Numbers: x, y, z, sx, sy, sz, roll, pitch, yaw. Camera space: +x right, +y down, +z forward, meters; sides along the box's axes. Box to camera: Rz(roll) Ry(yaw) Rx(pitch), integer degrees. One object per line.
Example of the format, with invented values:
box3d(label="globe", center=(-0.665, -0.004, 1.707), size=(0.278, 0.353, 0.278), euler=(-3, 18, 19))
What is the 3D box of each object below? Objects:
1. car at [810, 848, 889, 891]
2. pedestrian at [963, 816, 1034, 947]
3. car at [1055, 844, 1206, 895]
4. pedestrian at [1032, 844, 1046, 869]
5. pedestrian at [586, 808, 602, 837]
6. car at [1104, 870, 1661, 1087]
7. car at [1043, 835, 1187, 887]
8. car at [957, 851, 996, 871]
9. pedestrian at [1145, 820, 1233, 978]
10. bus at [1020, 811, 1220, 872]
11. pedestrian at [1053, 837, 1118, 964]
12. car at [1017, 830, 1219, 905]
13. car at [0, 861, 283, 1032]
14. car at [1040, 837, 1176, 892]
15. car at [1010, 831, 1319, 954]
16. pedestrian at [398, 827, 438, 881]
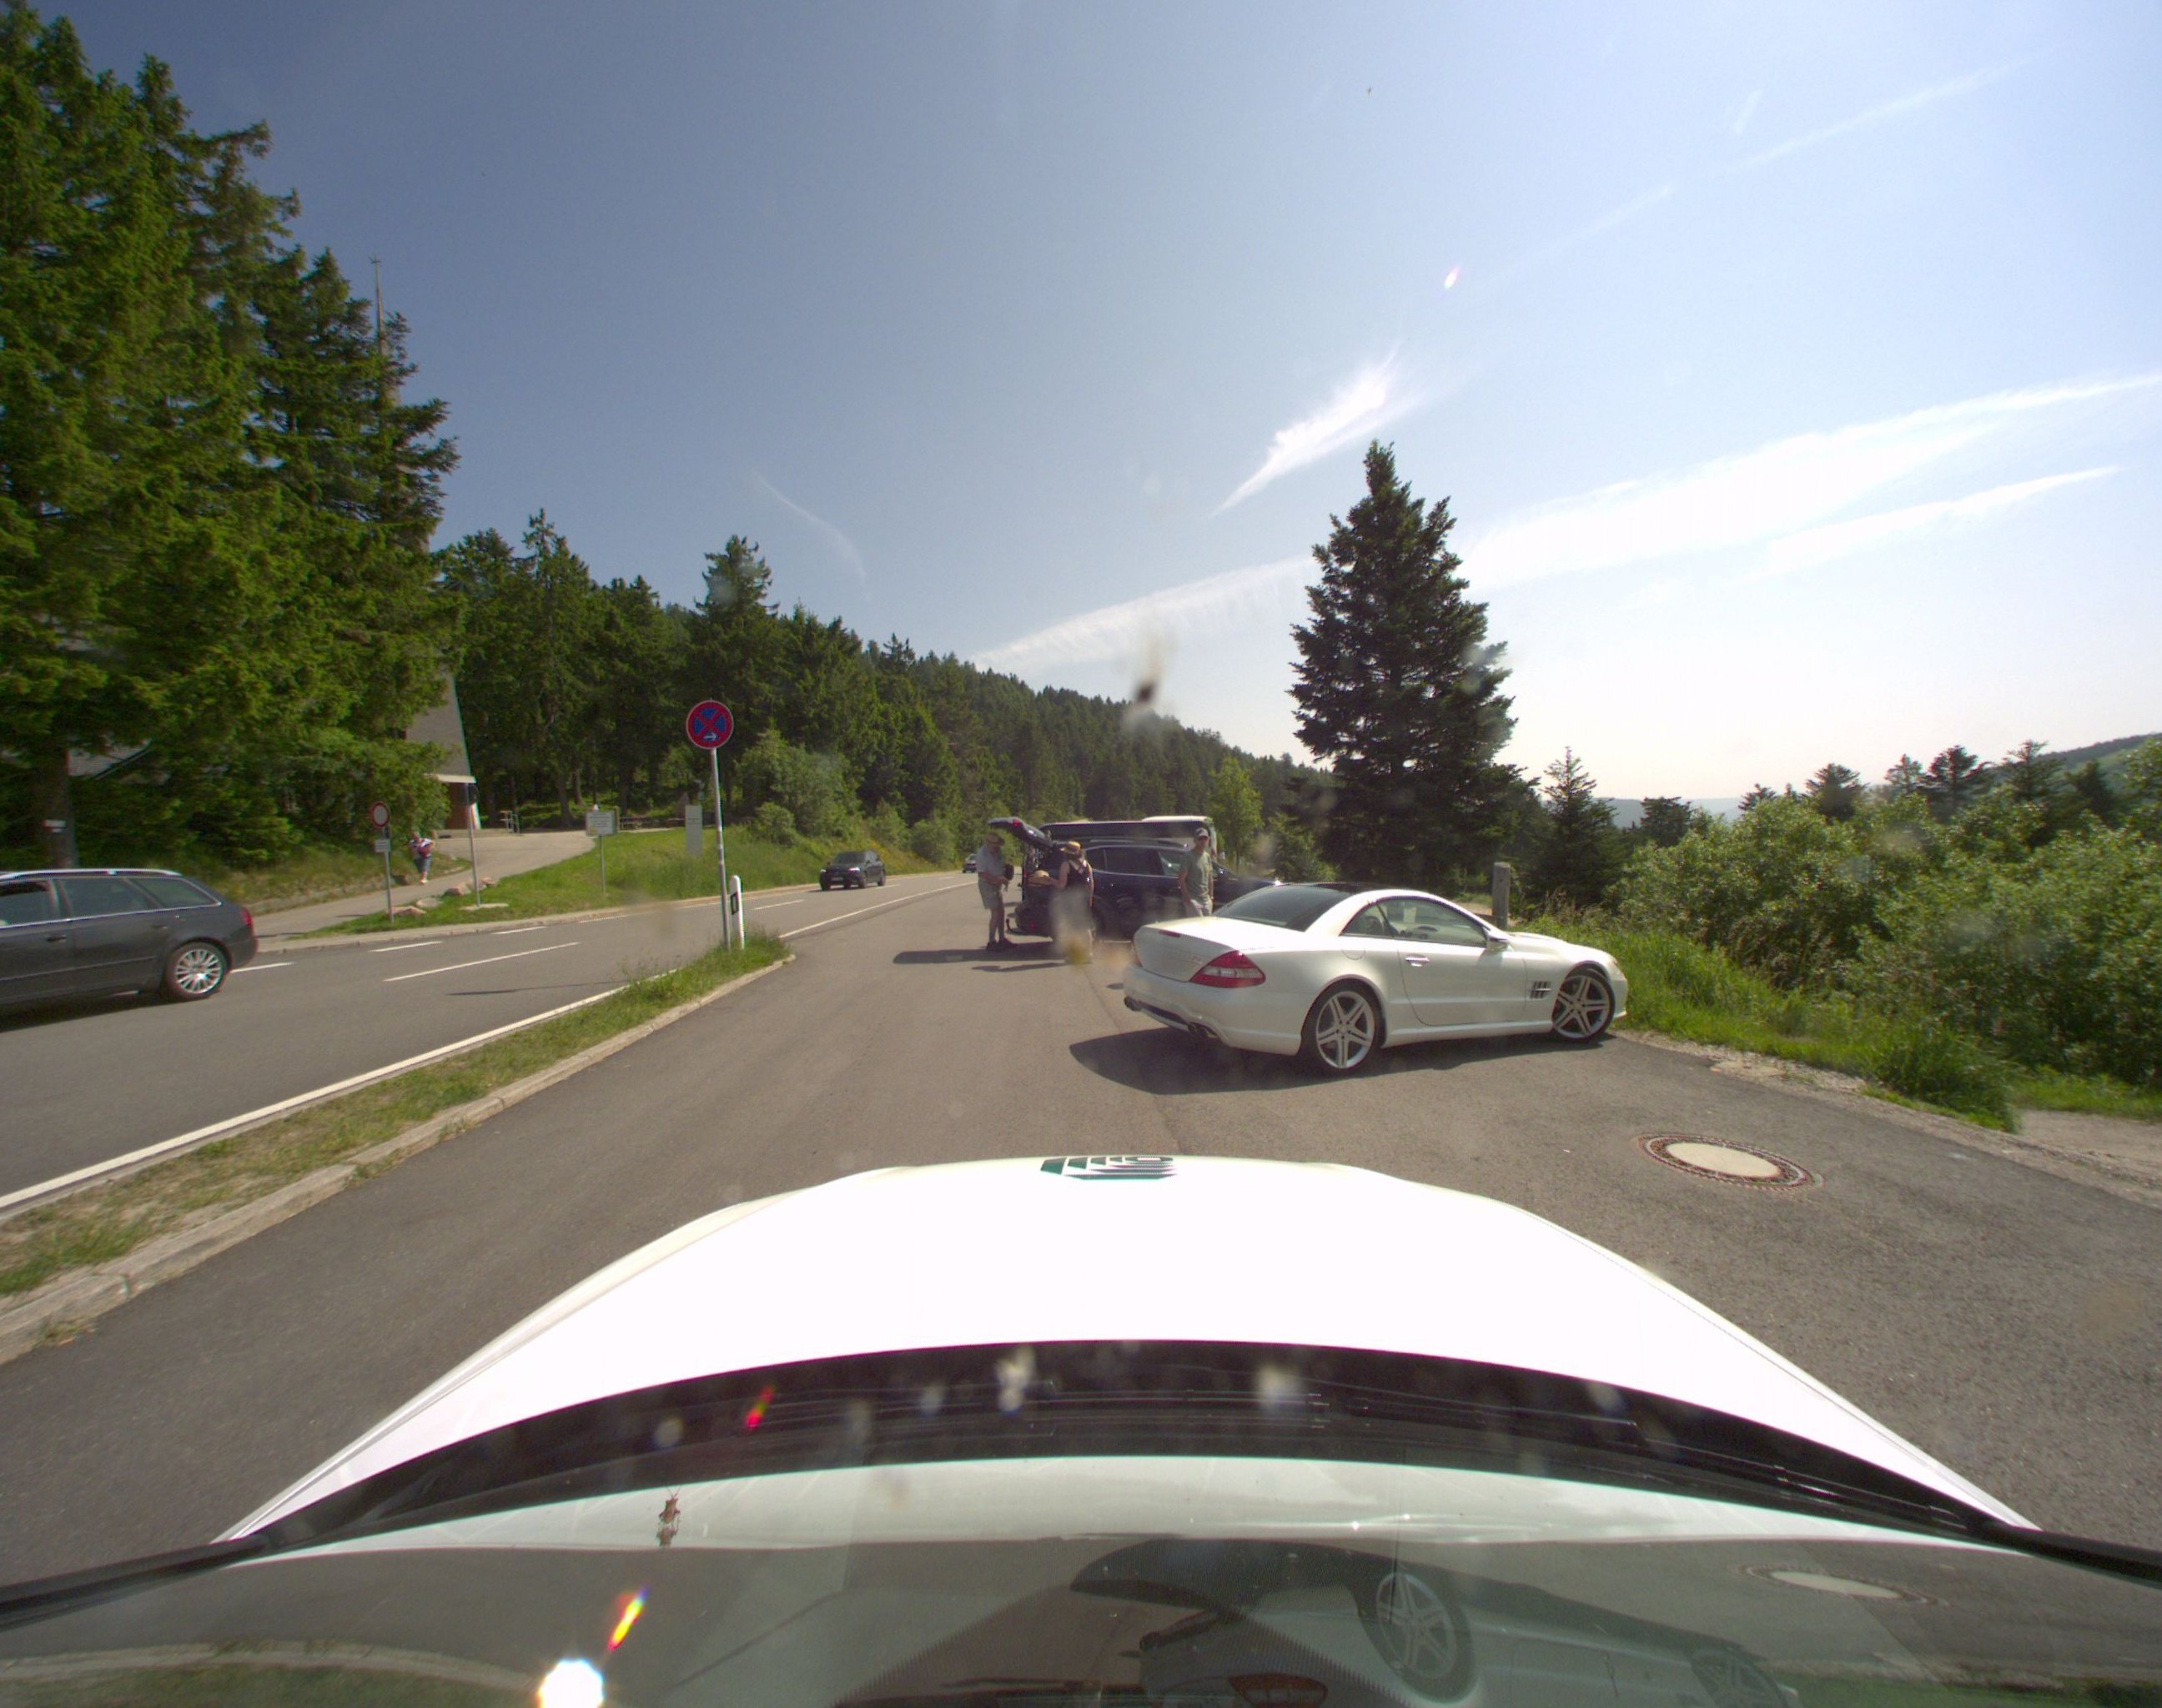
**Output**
box3d(label="car", center=(-10.025, 0.602, 35.642), size=(1.987, 1.647, 4.567), euler=(-3, 1, 1))
box3d(label="pedestrian", center=(-1.213, 0.371, 12.089), size=(0.728, 1.870, 0.763), euler=(1, 3, 29))
box3d(label="car", center=(1.390, 0.440, 23.940), size=(4.231, 1.269, 1.837), euler=(-2, 0, -1))
box3d(label="pedestrian", center=(-2.731, 0.165, 52.925), size=(0.766, 1.585, 0.774), euler=(-2, 0, 6))
box3d(label="pedestrian", center=(-32.283, -2.062, 54.000), size=(0.674, 1.877, 0.545), euler=(-3, 0, 32))
box3d(label="car", center=(2.561, 0.829, 6.820), size=(4.417, 1.296, 1.742), euler=(1, 1, -24))
box3d(label="car", center=(1.185, 0.234, 29.736), size=(5.019, 1.651, 2.047), euler=(-2, 0, -1))
box3d(label="car", center=(-8.134, 0.516, 63.819), size=(1.869, 1.474, 4.724), euler=(-1, 0, 8))
box3d(label="pedestrian", center=(1.288, 0.515, 9.777), size=(0.751, 1.800, 0.728), euler=(0, -1, -33))
box3d(label="bus", center=(2.697, -0.808, 54.905), size=(13.015, 3.532, 3.052), euler=(-2, 0, 9))
box3d(label="pedestrian", center=(0.053, 0.591, 10.701), size=(0.716, 1.613, 0.533), euler=(0, -1, -21))
box3d(label="car", center=(0.938, 0.319, 21.046), size=(4.931, 1.695, 1.946), euler=(-2, 0, 1))
box3d(label="car", center=(-10.238, 0.861, 7.394), size=(1.702, 1.437, 4.444), euler=(-3, 1, -3))
box3d(label="car", center=(0.858, 0.323, 26.614), size=(4.231, 1.553, 1.837), euler=(-2, 0, -1))
box3d(label="car", center=(1.138, 0.565, 12.333), size=(4.339, 1.626, 1.866), euler=(1, -1, -7))
box3d(label="pedestrian", center=(-21.209, -0.006, 26.071), size=(0.721, 1.681, 0.679), euler=(-3, 0, -15))
